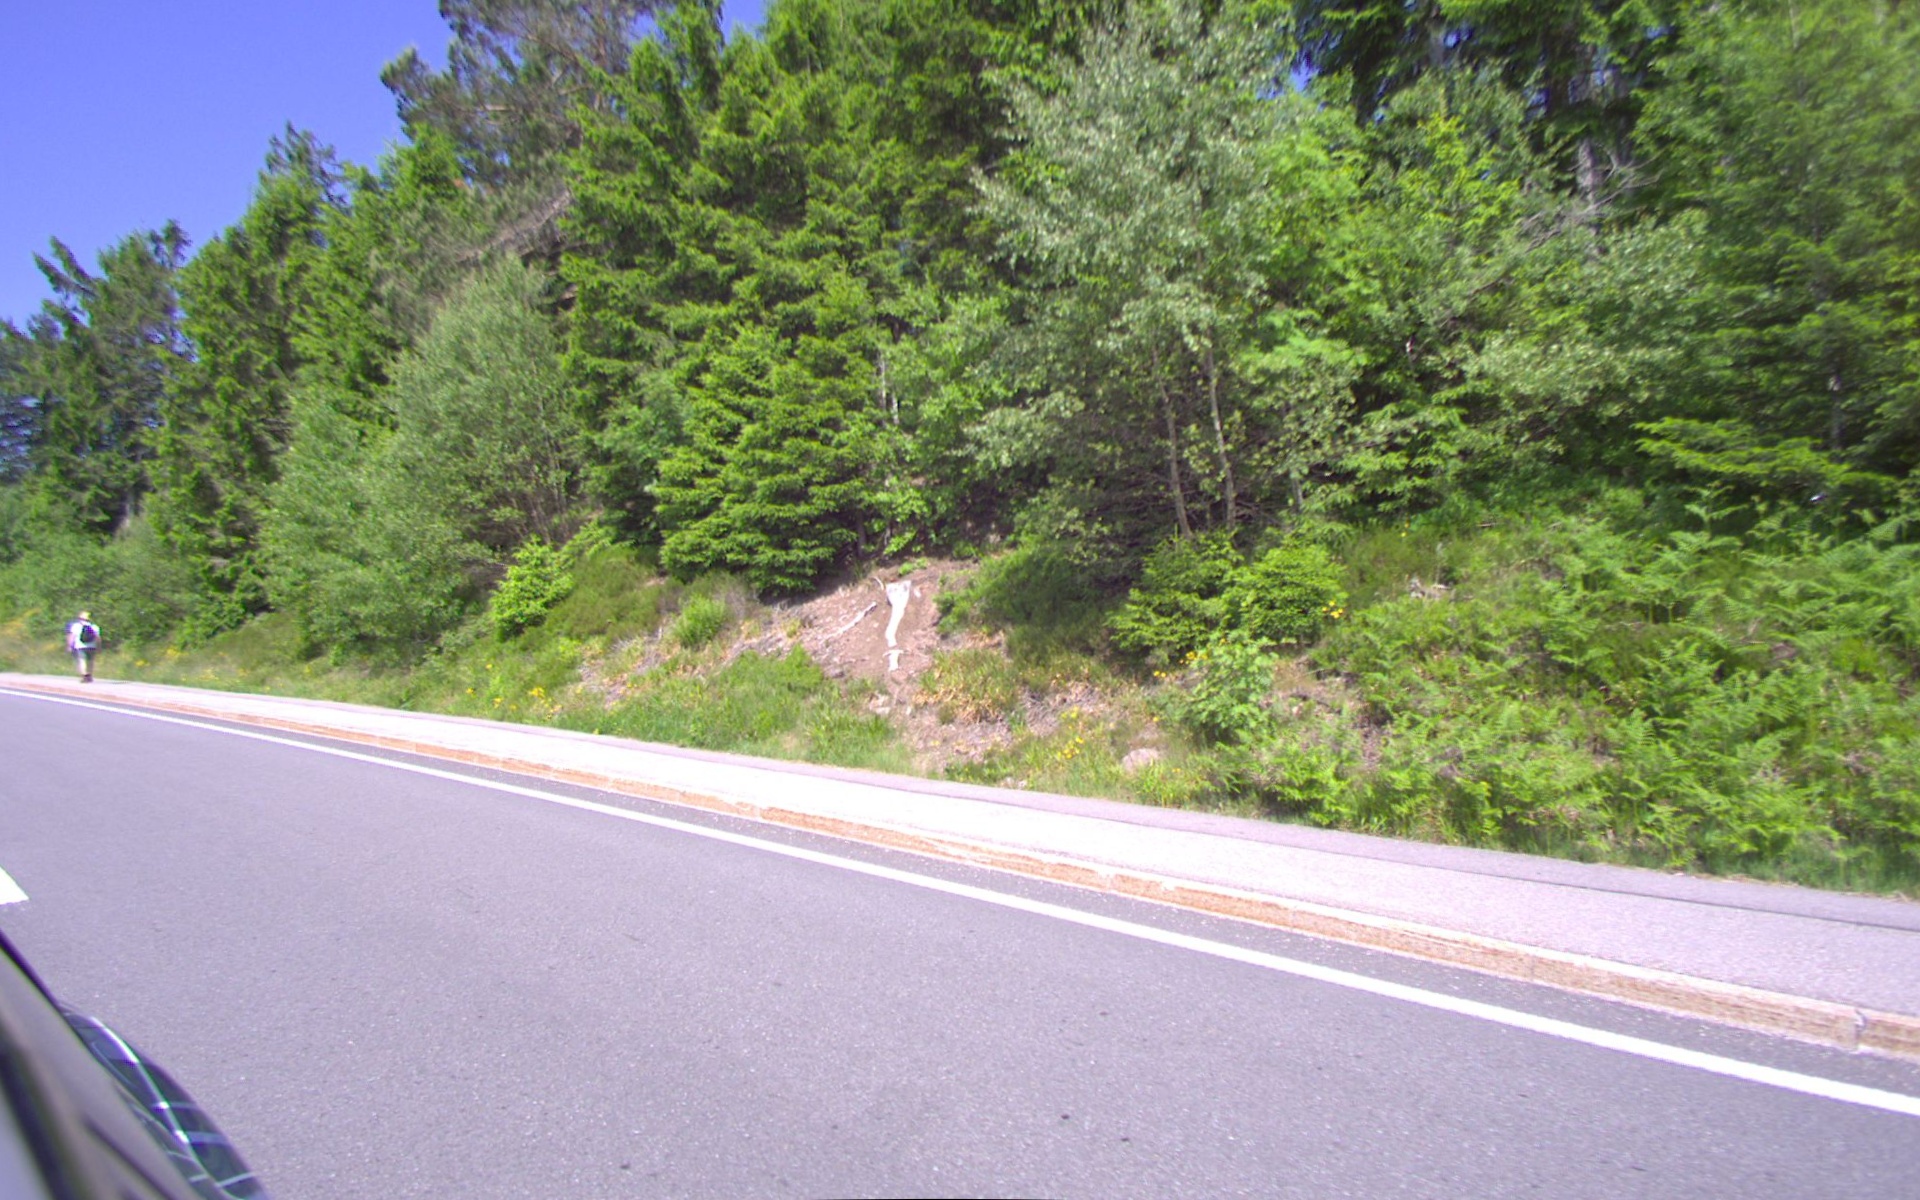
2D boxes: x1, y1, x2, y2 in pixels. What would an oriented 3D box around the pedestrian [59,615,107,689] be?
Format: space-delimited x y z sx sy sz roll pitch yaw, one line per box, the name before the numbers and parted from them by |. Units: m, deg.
pedestrian | -21.427 1.263 24.720 0.823 1.759 0.677 -2 -1 33
